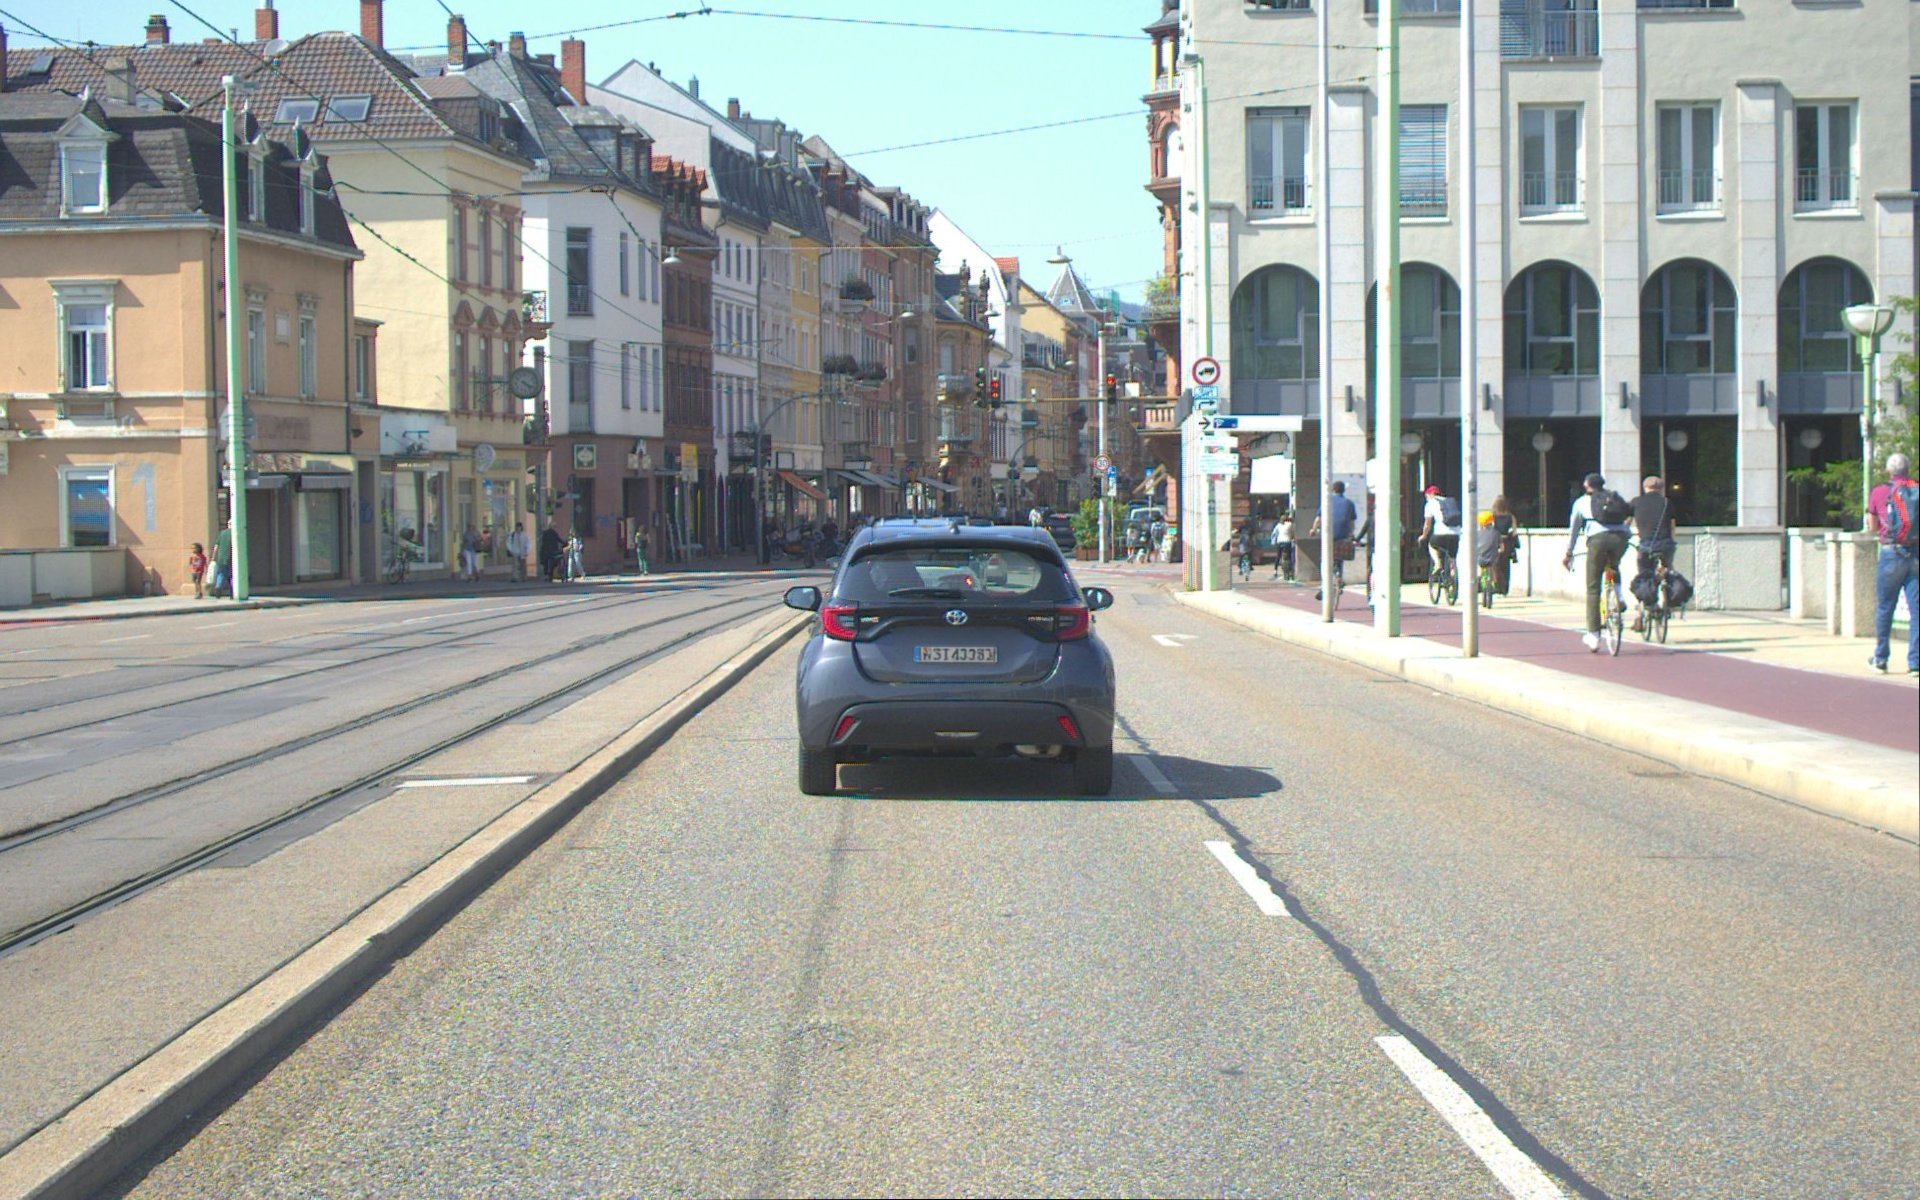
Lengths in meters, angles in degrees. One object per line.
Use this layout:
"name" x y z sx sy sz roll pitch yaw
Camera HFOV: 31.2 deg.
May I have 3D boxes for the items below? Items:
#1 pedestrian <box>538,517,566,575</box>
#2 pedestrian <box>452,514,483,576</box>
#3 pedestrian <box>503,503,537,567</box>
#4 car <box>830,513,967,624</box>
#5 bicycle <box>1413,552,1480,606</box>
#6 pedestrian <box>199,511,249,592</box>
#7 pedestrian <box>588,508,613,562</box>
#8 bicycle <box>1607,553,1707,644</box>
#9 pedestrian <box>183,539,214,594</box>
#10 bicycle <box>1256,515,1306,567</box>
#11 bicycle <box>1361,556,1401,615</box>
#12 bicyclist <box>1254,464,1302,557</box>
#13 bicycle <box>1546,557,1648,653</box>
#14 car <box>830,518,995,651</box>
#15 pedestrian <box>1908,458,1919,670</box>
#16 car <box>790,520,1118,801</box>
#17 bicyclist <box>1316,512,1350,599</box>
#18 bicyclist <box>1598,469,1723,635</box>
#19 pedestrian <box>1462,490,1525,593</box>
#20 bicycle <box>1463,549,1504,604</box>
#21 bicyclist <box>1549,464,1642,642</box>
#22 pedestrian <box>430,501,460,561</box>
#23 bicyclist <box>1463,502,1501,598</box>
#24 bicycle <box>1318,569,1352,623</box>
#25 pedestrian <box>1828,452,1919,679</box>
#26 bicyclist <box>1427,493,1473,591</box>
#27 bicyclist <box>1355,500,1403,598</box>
"pedestrian" -11.710 -1.550 98.608 0.649 1.596 0.566 4 3 0
"pedestrian" -13.179 -1.463 92.021 0.649 1.596 0.566 4 3 0
"pedestrian" -12.421 -1.840 97.021 0.736 1.760 0.787 4 1 0
"car" -0.886 -0.488 50.218 1.897 1.525 4.000 1 1 -1
"bicycle" 7.368 -0.325 52.084 0.416 0.763 0.961 -1 4 -39
"pedestrian" -15.389 -1.013 71.910 0.762 1.648 0.711 4 1 4
"pedestrian" -11.908 -2.162 113.865 0.736 1.760 0.787 0 2 0
"bicycle" 7.258 -0.026 35.848 0.798 0.879 1.828 -1 1 5
"pedestrian" -16.173 -0.707 73.015 0.412 1.142 0.544 4 1 8
"bicycle" 8.774 -1.626 94.125 1.112 1.415 3.007 0 1 0
"bicycle" 5.788 -0.204 47.262 0.416 0.763 1.205 -2 1 2
"bicyclist" 8.684 -2.443 93.975 1.228 2.520 1.105 0 1 1
"bicycle" 6.177 0.038 33.406 0.704 0.879 1.525 -1 1 1
"car" -0.576 -0.224 42.067 1.897 1.525 4.000 1 1 -1
"pedestrian" 8.375 -0.304 28.395 0.739 1.771 1.016 -2 1 -1
"car" -0.052 0.278 20.053 1.720 1.468 3.658 1 1 -1
"bicyclist" 5.481 -0.658 50.467 0.422 1.252 0.443 -2 1 3
"bicyclist" 7.299 -0.503 35.865 1.139 1.689 0.924 -1 1 5
"pedestrian" 8.643 -0.954 55.690 0.739 1.609 1.016 4 1 -1
"bicycle" 7.561 -0.337 49.669 0.416 0.763 0.962 -2 1 0
"bicyclist" 6.169 -0.460 33.421 0.701 1.689 0.924 -1 1 0
"pedestrian" -14.062 -1.884 93.889 0.649 1.596 0.566 4 3 0
"bicyclist" 7.544 -0.724 49.682 0.422 1.378 0.443 -2 1 0
"bicycle" 5.511 -0.061 50.505 0.416 0.763 0.962 -2 1 3
"pedestrian" 7.605 -0.292 28.014 0.739 1.796 1.016 -2 1 -1
"bicyclist" 7.427 -0.884 52.100 0.483 1.461 0.443 -1 4 -39
"bicyclist" 5.755 -0.699 47.236 0.538 1.312 0.672 -3 1 2
